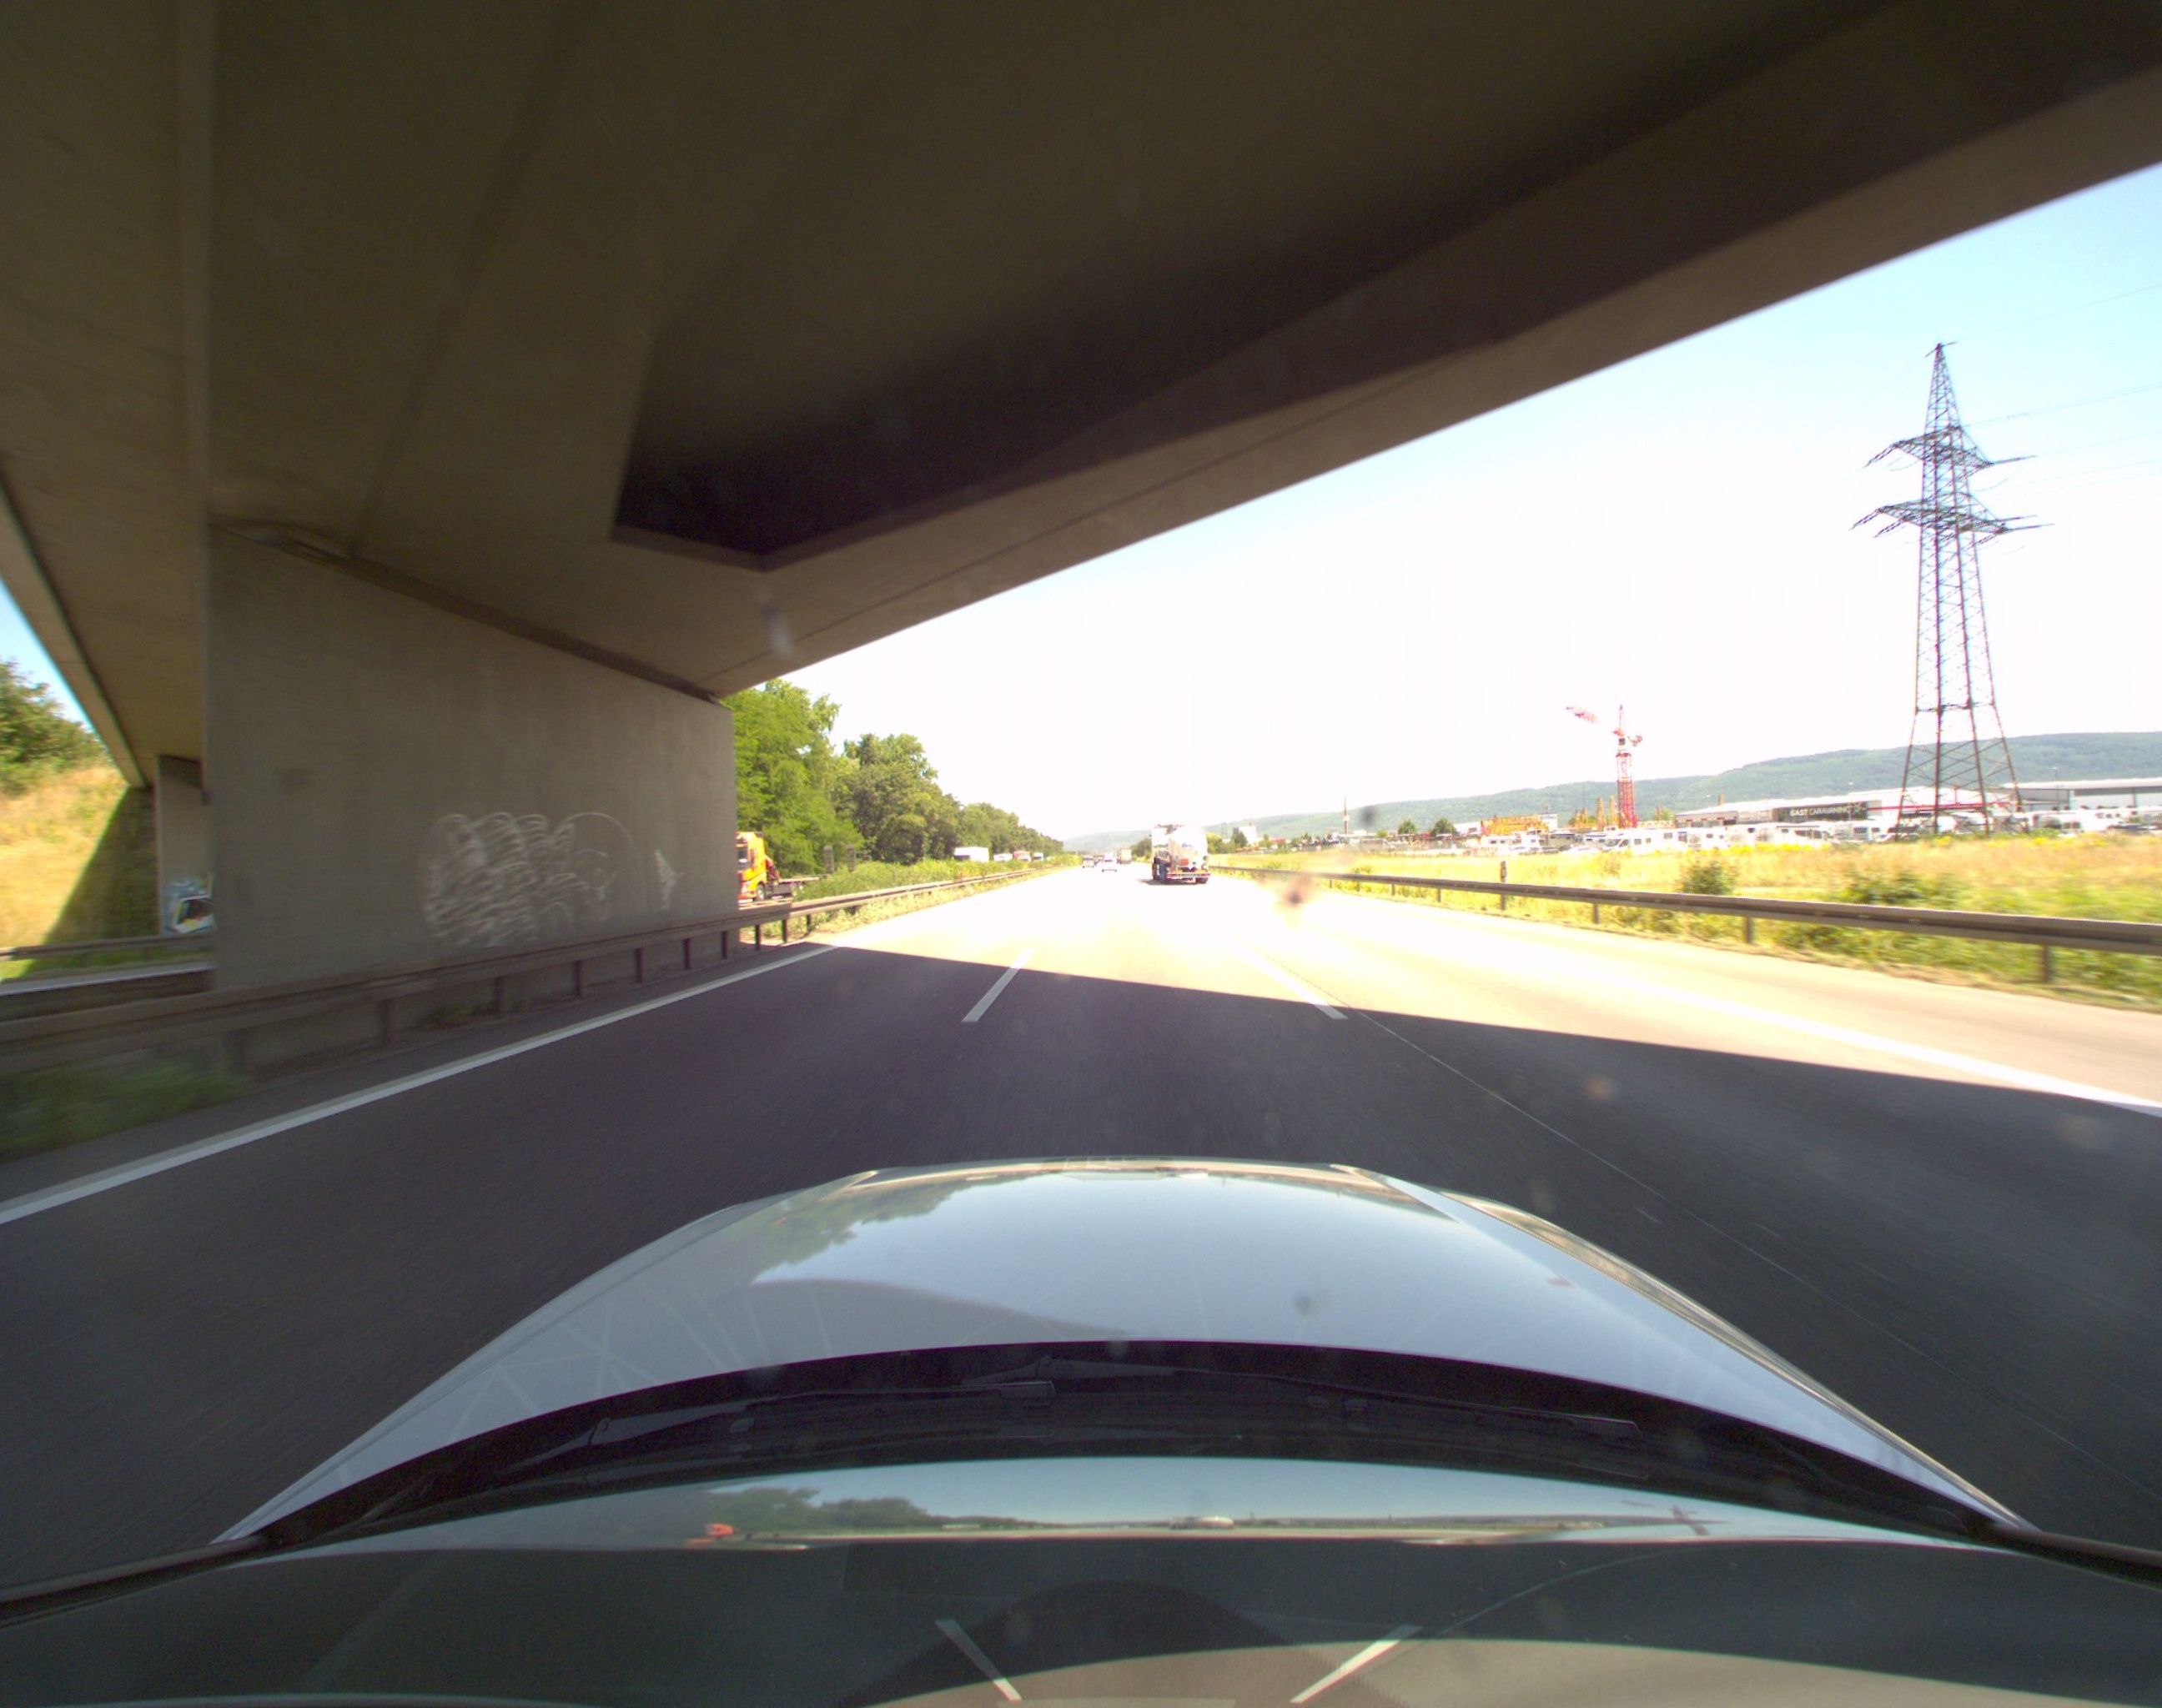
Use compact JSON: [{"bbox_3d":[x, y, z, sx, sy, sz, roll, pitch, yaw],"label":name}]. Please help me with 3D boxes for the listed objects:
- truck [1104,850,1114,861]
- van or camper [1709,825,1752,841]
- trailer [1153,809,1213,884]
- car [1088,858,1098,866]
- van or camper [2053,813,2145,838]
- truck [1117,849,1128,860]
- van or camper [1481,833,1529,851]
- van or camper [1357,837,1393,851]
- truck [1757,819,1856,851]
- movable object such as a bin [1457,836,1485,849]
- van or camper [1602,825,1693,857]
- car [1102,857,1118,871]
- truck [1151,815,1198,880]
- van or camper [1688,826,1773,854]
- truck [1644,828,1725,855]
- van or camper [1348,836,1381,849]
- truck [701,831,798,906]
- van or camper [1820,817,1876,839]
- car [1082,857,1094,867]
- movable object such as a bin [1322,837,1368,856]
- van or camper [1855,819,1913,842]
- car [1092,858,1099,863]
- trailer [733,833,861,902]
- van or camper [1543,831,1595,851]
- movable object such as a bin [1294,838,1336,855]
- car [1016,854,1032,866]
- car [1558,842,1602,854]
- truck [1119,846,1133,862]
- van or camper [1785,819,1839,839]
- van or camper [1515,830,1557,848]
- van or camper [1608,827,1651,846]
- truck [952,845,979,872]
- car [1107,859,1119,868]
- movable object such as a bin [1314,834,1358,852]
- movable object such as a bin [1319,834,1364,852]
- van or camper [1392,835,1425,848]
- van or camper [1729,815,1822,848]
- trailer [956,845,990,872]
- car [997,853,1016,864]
[{"bbox_3d":[8.760,0.396,259.421,3.086,3.474,11.546,0,0,2],"label":"truck"},{"bbox_3d":[105.854,-3.393,132.784,5.245,2.293,2.375,-3,0,-3],"label":"van or camper"},{"bbox_3d":[6.059,-0.415,49.942,2.570,4.074,11.106,0,0,1],"label":"trailer"},{"bbox_3d":[2.426,1.591,162.357,1.828,1.386,4.002,0,0,2],"label":"car"},{"bbox_3d":[104.999,-2.907,84.035,6.195,2.257,2.759,-3,0,-2],"label":"van or camper"},{"bbox_3d":[13.095,0.099,256.737,3.086,3.474,11.546,0,0,2],"label":"truck"},{"bbox_3d":[72.967,-2.078,140.213,6.329,2.677,3.325,-3,0,0],"label":"van or camper"},{"bbox_3d":[59.461,-2.023,164.745,6.316,2.552,2.440,-3,0,3],"label":"van or camper"},{"bbox_3d":[72.473,-1.884,81.439,7.720,2.881,2.770,-2,0,-3],"label":"truck"},{"bbox_3d":[84.567,-2.387,176.568,2.901,2.554,6.810,-3,-1,2],"label":"movable object such as a bin"},{"bbox_3d":[58.973,-1.345,84.863,7.714,3.101,2.434,-2,0,-1],"label":"van or camper"},{"bbox_3d":[3.307,1.129,92.016,1.799,1.468,4.002,0,0,2],"label":"car"},{"bbox_3d":[6.183,-0.403,54.686,2.563,4.072,6.394,0,0,1],"label":"truck"},{"bbox_3d":[73.115,-1.533,91.711,7.720,2.881,2.601,-2,0,-3],"label":"van or camper"},{"bbox_3d":[70.252,-1.436,94.843,7.720,2.881,2.601,-2,0,-3],"label":"truck"},{"bbox_3d":[59.569,-2.490,171.117,6.091,2.402,2.604,-3,0,3],"label":"van or camper"},{"bbox_3d":[-18.474,0.757,45.858,2.602,3.898,6.502,0,0,2],"label":"truck"},{"bbox_3d":[112.328,-3.827,119.341,5.922,2.897,2.502,-3,0,-2],"label":"van or camper"},{"bbox_3d":[1.198,1.273,133.614,1.845,1.633,4.002,0,0,2],"label":"car"},{"bbox_3d":[61.140,-1.765,188.743,9.662,3.689,3.426,-3,-1,8],"label":"movable object such as a bin"},{"bbox_3d":[114.463,-3.386,116.127,5.922,2.897,2.502,-3,0,-2],"label":"van or camper"},{"bbox_3d":[4.166,1.907,229.553,1.828,1.386,4.002,0,0,2],"label":"car"},{"bbox_3d":[-18.201,0.785,53.971,2.602,3.884,15.588,0,0,2],"label":"trailer"},{"bbox_3d":[74.468,-1.931,124.454,6.425,2.767,2.422,-3,0,0],"label":"van or camper"},{"bbox_3d":[61.965,-1.973,216.031,10.216,3.689,2.394,-3,-1,1],"label":"movable object such as a bin"},{"bbox_3d":[-8.561,0.877,122.577,2.085,1.780,5.459,0,0,0],"label":"car"},{"bbox_3d":[56.515,-0.665,92.262,3.875,1.298,1.587,-2,0,2],"label":"car"},{"bbox_3d":[11.067,0.070,200.814,3.253,3.857,11.635,0,0,2],"label":"truck"},{"bbox_3d":[113.357,-3.827,126.327,5.922,2.731,2.644,-3,0,-2],"label":"van or camper"},{"bbox_3d":[75.058,-2.443,134.400,5.240,2.677,2.616,-3,0,0],"label":"van or camper"},{"bbox_3d":[89.241,-2.792,132.579,5.250,2.765,2.612,-3,0,-6],"label":"van or camper"},{"bbox_3d":[-16.081,0.623,113.615,2.784,3.721,5.119,0,0,2],"label":"truck"},{"bbox_3d":[5.300,1.533,135.580,1.877,1.515,4.002,0,0,2],"label":"car"},{"bbox_3d":[61.853,-2.624,197.956,9.674,3.689,2.979,-3,-1,3],"label":"movable object such as a bin"},{"bbox_3d":[61.450,-2.634,192.292,9.663,3.689,2.983,-3,-1,7],"label":"movable object such as a bin"},{"bbox_3d":[70.303,-2.616,174.944,6.091,2.402,2.604,-3,0,3],"label":"van or camper"},{"bbox_3d":[72.528,-2.311,85.123,7.725,3.193,2.670,-2,0,-5],"label":"van or camper"},{"bbox_3d":[-15.828,0.643,120.567,2.815,3.710,13.934,0,0,2],"label":"trailer"},{"bbox_3d":[-11.648,0.708,127.444,2.293,1.780,5.427,0,0,2],"label":"car"}]
